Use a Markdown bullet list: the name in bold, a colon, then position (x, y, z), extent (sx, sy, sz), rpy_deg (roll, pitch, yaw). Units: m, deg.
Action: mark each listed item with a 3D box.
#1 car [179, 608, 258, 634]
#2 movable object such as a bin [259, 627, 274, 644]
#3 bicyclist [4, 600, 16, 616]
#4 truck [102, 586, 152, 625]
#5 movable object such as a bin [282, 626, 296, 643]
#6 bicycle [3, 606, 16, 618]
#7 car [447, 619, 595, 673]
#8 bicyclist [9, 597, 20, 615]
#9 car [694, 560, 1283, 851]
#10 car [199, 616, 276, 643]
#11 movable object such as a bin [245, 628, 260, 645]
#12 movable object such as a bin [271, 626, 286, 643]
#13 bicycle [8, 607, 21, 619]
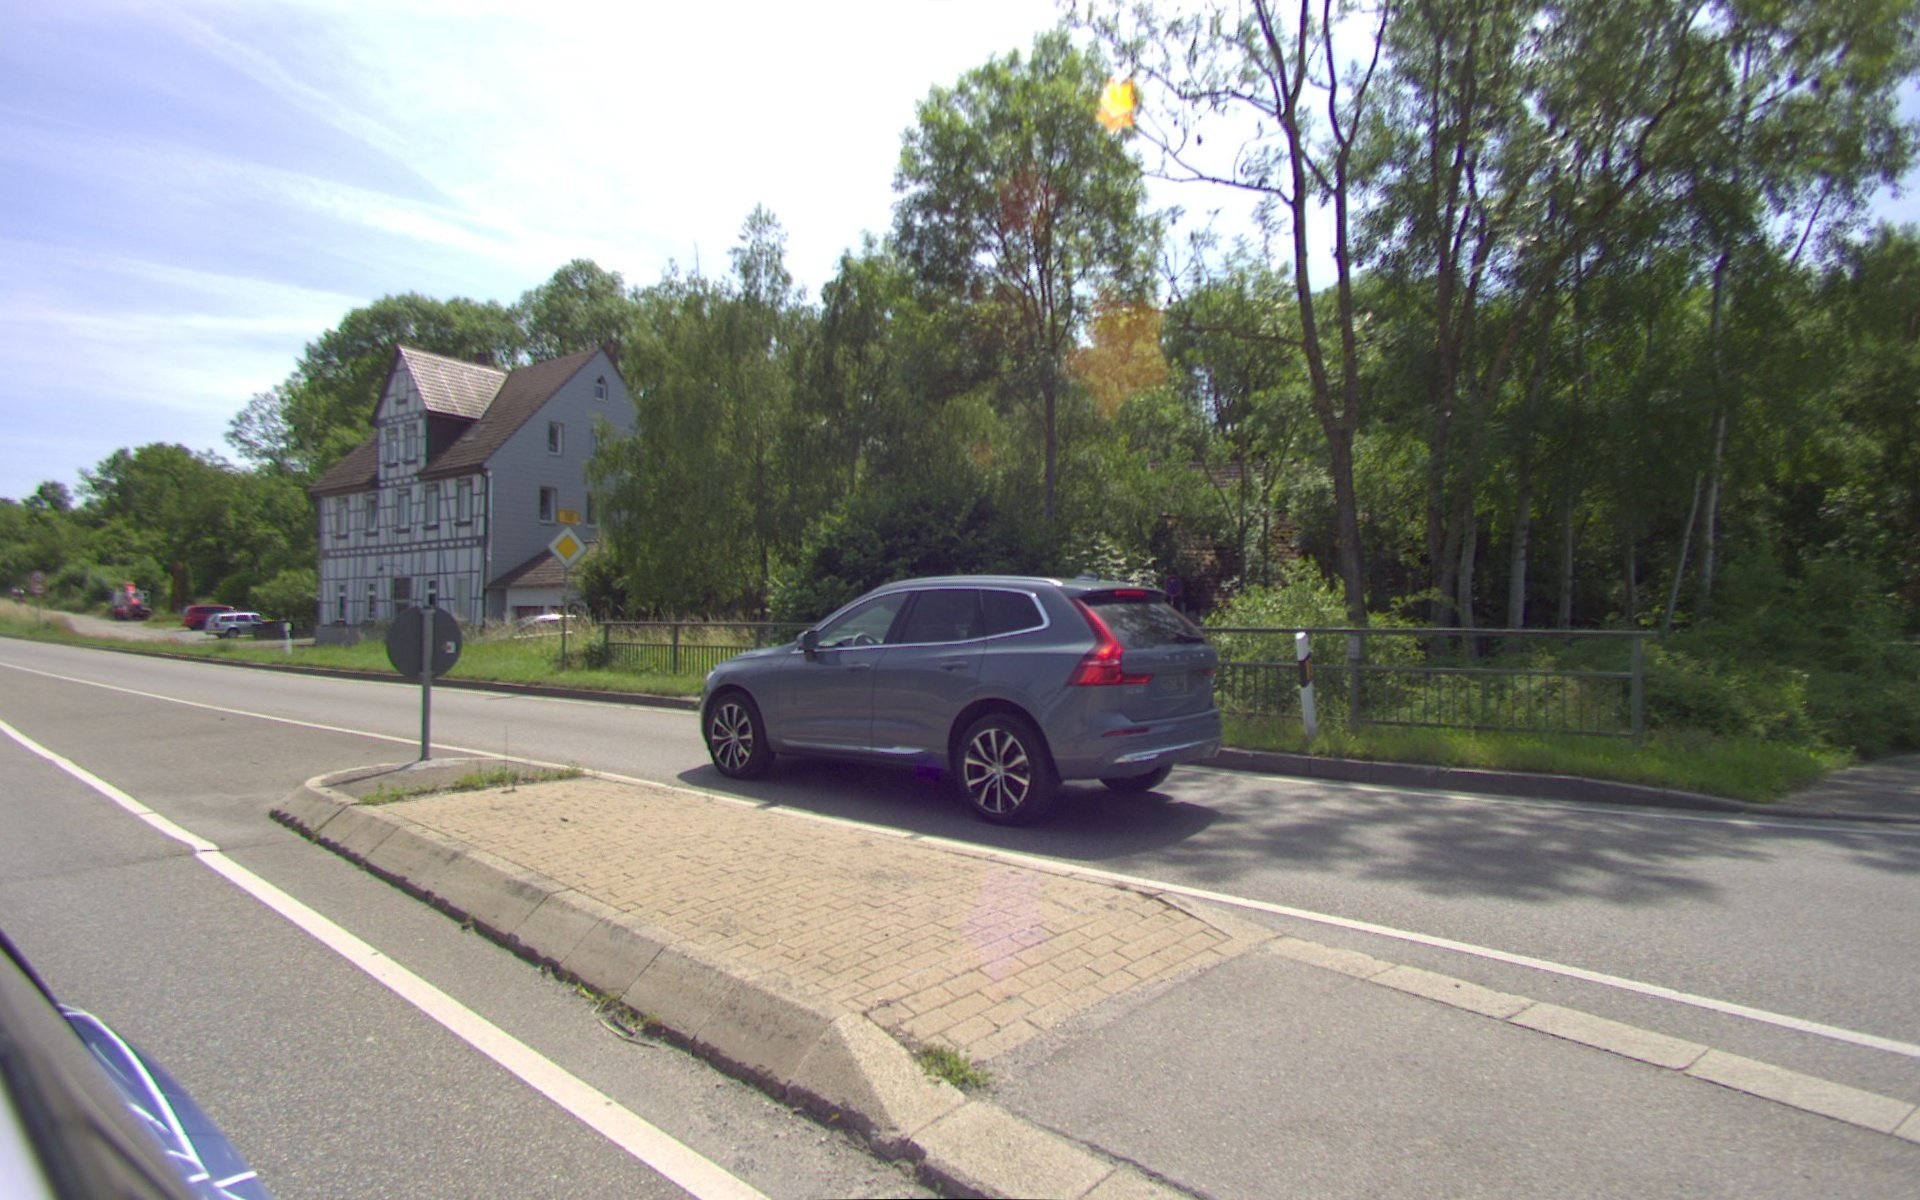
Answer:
- **car**: position (-49.201, 1.366, 67.183), extent (1.832, 1.631, 3.985), rpy_deg (0, 0, 41)
- **movable object such as a bin**: position (-40.109, 2.044, 58.554), extent (0.653, 0.977, 0.499), rpy_deg (1, 1, 33)
- **bicyclist**: position (-95.575, 0.801, 101.793), extent (0.935, 1.607, 0.740), rpy_deg (0, 1, 41)
- **truck**: position (-65.826, 0.401, 79.921), extent (6.771, 2.986, 2.005), rpy_deg (1, 1, 42)
- **movable object such as a bin**: position (-39.499, 2.017, 59.565), extent (0.653, 0.983, 0.499), rpy_deg (1, 1, 33)
- **bicycle**: position (-95.582, 1.212, 101.802), extent (2.104, 1.221, 0.741), rpy_deg (0, 1, 41)
- **car**: position (-15.851, 1.624, 36.726), extent (1.858, 1.733, 4.621), rpy_deg (-3, -2, 36)
- **bicyclist**: position (-92.660, 0.541, 99.183), extent (0.936, 1.727, 0.740), rpy_deg (0, 1, 43)
- **car**: position (0.017, 0.646, 7.979), extent (4.429, 1.667, 1.928), rpy_deg (-1, -2, 40)
- **car**: position (-42.534, 1.702, 59.618), extent (1.606, 1.476, 3.348), rpy_deg (0, 0, 34)
- **movable object such as a bin**: position (-40.576, 2.066, 58.029), extent (0.653, 0.943, 0.499), rpy_deg (1, 1, 33)
- **movable object such as a bin**: position (-39.828, 1.998, 59.131), extent (0.653, 0.978, 0.499), rpy_deg (1, 1, 33)
- **bicycle**: position (-92.685, 1.260, 99.211), extent (2.105, 1.189, 0.740), rpy_deg (1, 1, 43)
